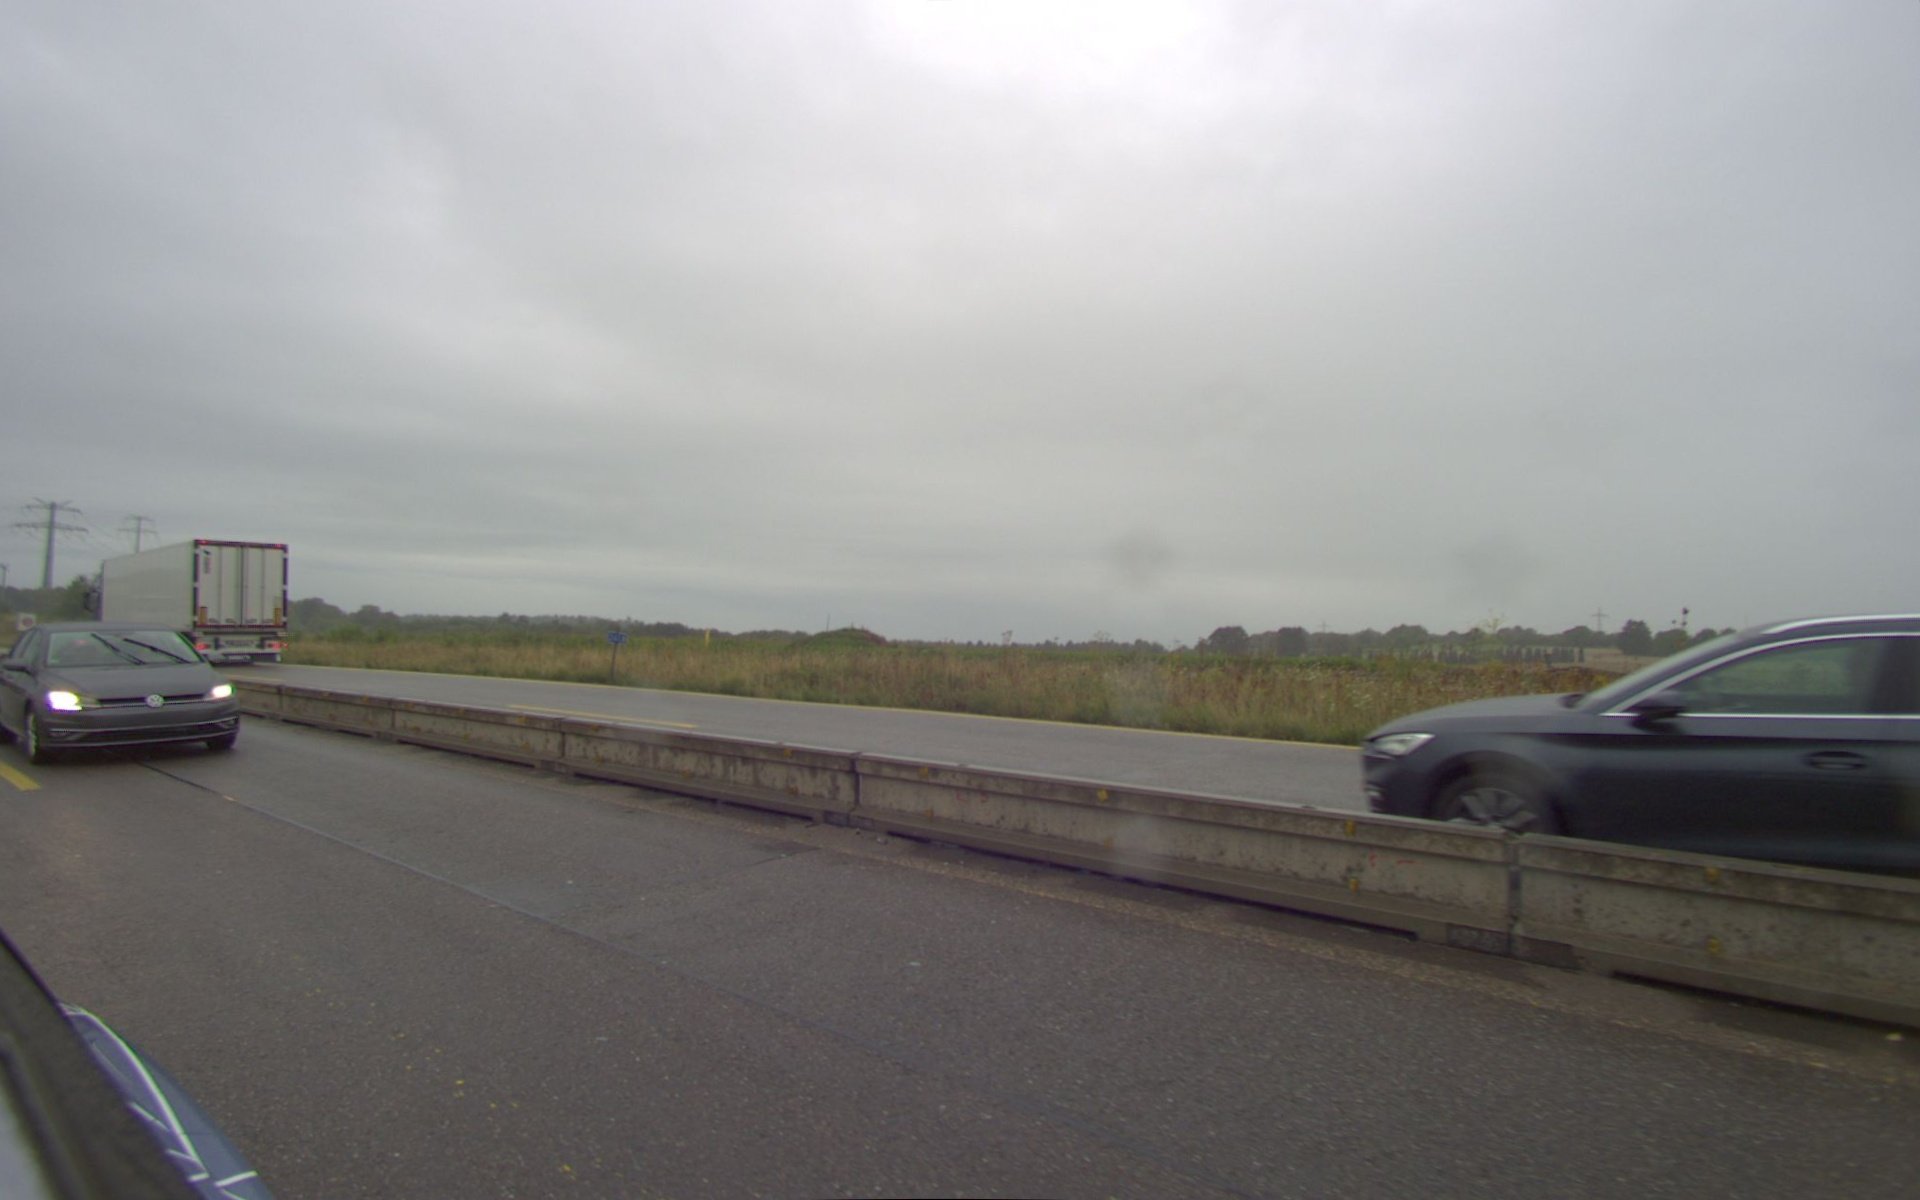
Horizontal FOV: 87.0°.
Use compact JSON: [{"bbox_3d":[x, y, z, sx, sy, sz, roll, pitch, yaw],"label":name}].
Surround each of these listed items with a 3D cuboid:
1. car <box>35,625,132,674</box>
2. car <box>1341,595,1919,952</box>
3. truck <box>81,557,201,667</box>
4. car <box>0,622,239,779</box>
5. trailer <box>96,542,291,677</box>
[{"bbox_3d":[-27.683,1.510,31.926,4.088,1.431,1.701,-1,-1,40],"label":"car"},{"bbox_3d":[4.492,0.707,4.819,4.695,1.454,1.806,-1,-1,41],"label":"car"},{"bbox_3d":[-33.767,0.535,41.674,5.903,4.213,2.758,-1,-2,40],"label":"truck"},{"bbox_3d":[-9.806,0.989,11.497,4.076,1.433,1.633,-1,0,39],"label":"car"},{"bbox_3d":[-28.463,0.431,37.175,13.663,4.232,2.758,-1,-2,40],"label":"trailer"}]
